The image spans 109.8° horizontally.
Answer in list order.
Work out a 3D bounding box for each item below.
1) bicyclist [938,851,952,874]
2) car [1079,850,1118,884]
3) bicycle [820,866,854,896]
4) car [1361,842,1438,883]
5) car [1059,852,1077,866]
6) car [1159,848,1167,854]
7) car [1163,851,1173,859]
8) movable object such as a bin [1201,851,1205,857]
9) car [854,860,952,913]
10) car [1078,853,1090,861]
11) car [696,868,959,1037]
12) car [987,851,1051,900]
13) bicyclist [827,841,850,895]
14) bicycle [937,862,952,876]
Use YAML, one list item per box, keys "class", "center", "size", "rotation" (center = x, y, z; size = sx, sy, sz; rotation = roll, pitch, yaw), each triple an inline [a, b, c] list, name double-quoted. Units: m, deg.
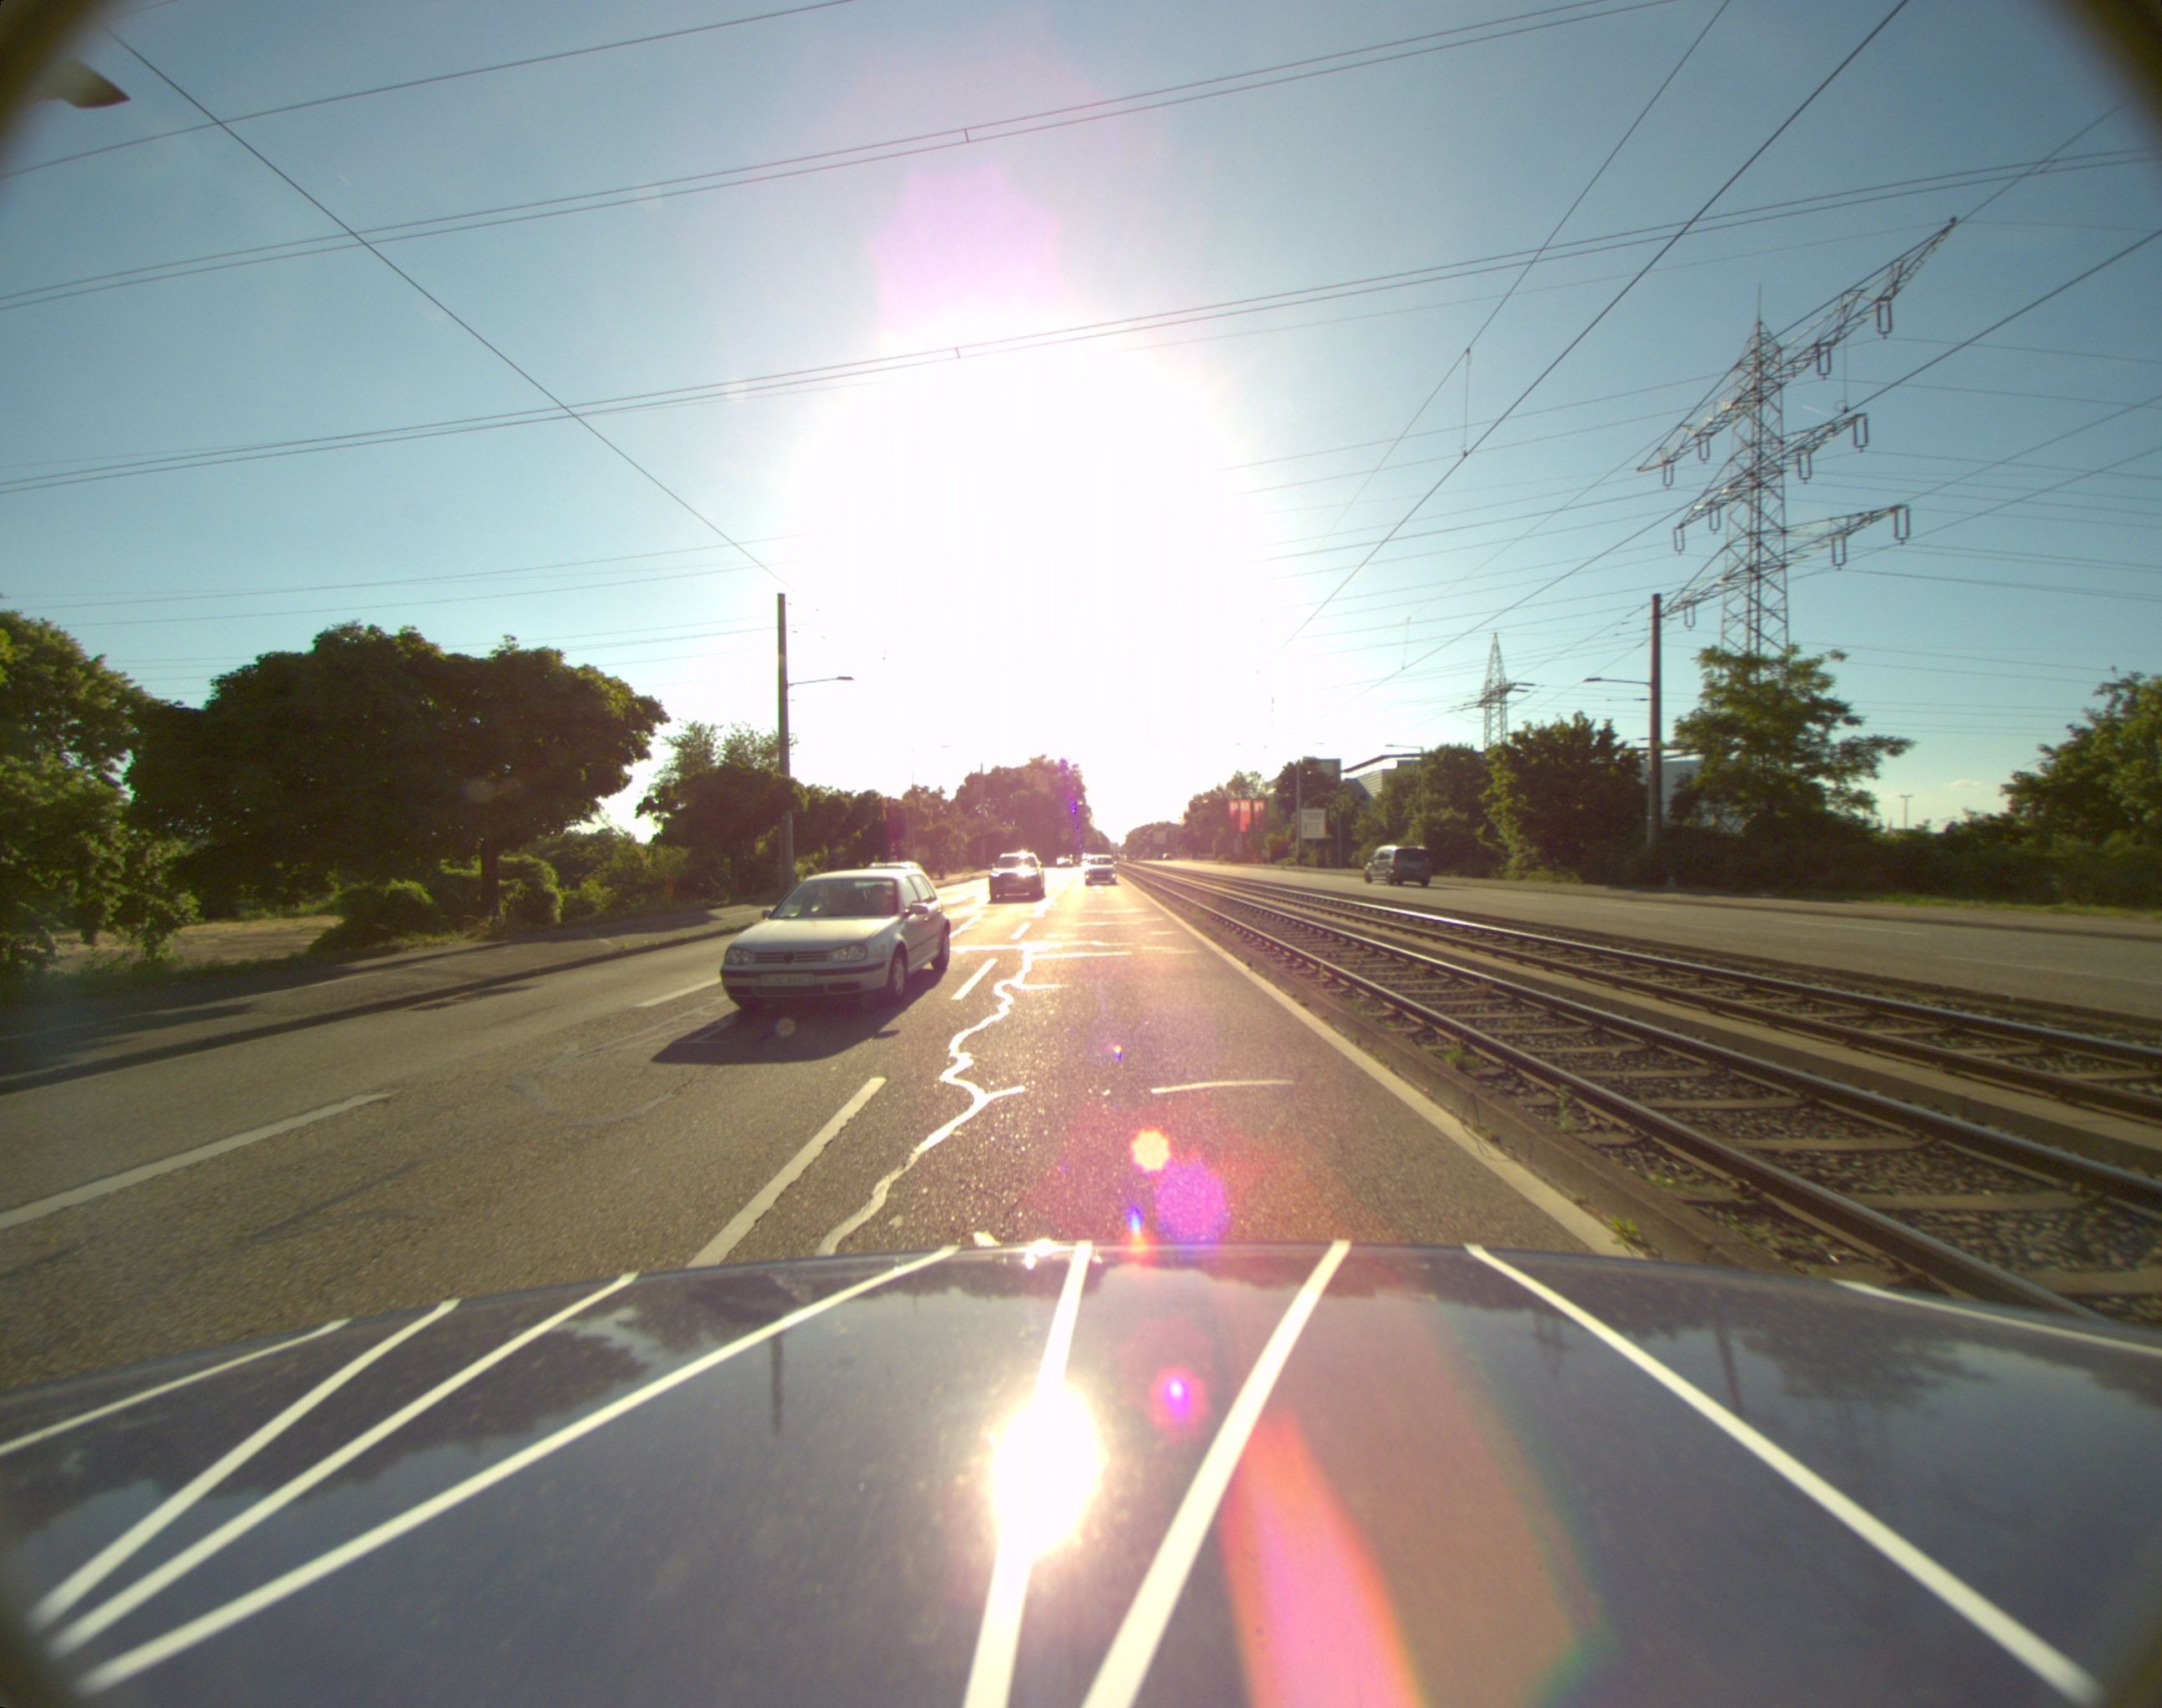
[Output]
- class: "bicyclist"
  center: [-8.933, 0.563, 49.937]
  size: [0.628, 1.463, 1.060]
  rotation: [3, 1, 2]
- class: "car"
  center: [0.971, 0.628, 40.037]
  size: [1.881, 1.591, 4.416]
  rotation: [-1, 1, 2]
- class: "bicycle"
  center: [-9.337, 1.017, 29.124]
  size: [0.528, 1.054, 1.971]
  rotation: [-3, 1, 2]
- class: "car"
  center: [15.869, 0.432, 38.194]
  size: [1.998, 1.911, 4.862]
  rotation: [0, -1, 2]
- class: "car"
  center: [-1.491, 0.572, 90.790]
  size: [1.881, 1.449, 4.416]
  rotation: [-1, 1, 2]
- class: "car"
  center: [23.162, -0.805, 214.848]
  size: [1.998, 1.785, 4.349]
  rotation: [0, 1, 1]
- class: "car"
  center: [20.998, 0.223, 183.410]
  size: [1.999, 1.616, 4.682]
  rotation: [0, 1, -1]
- class: "movable object such as a bin"
  center: [23.426, -0.019, 145.700]
  size: [0.614, 0.960, 1.083]
  rotation: [-3, 1, 1]
- class: "car"
  center: [-5.790, 0.996, 25.298]
  size: [1.881, 1.435, 4.660]
  rotation: [-1, 1, 3]
- class: "car"
  center: [0.652, 0.501, 145.360]
  size: [1.880, 1.449, 4.417]
  rotation: [-1, 1, 5]
- class: "car"
  center: [-2.738, 0.978, 9.231]
  size: [1.695, 1.437, 4.001]
  rotation: [-1, 1, 2]
- class: "car"
  center: [-2.257, 0.756, 28.811]
  size: [1.881, 1.591, 4.416]
  rotation: [-1, 1, 2]
- class: "bicyclist"
  center: [-9.353, 0.530, 29.308]
  size: [0.528, 2.005, 0.729]
  rotation: [-3, 1, 2]
- class: "bicycle"
  center: [-8.959, 1.006, 49.927]
  size: [0.628, 0.829, 1.635]
  rotation: [3, 1, 2]
